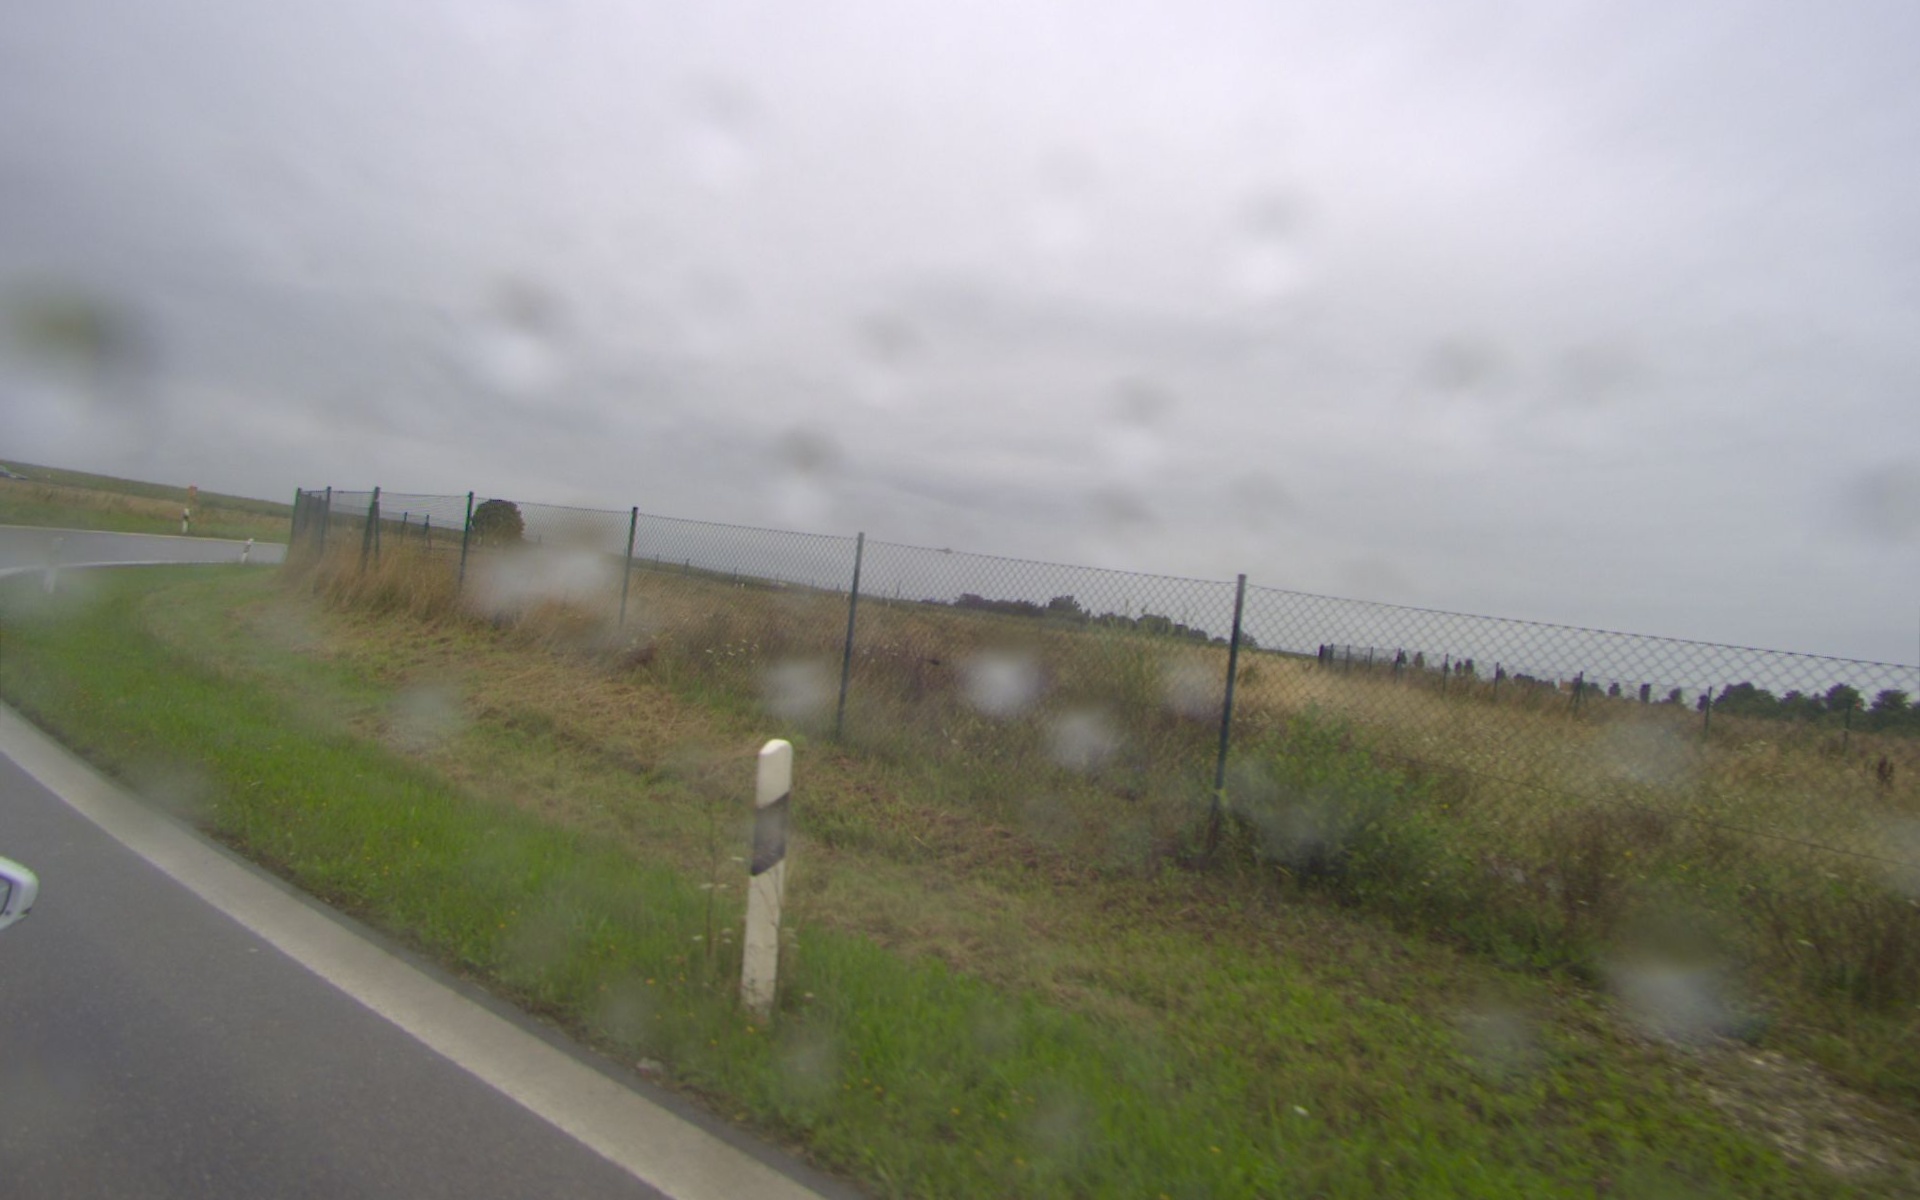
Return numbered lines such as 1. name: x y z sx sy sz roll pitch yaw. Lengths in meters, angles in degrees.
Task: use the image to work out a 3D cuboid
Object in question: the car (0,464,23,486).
1. car: -89.512 -11.762 92.877 3.938 1.759 1.729 8 1 -14
